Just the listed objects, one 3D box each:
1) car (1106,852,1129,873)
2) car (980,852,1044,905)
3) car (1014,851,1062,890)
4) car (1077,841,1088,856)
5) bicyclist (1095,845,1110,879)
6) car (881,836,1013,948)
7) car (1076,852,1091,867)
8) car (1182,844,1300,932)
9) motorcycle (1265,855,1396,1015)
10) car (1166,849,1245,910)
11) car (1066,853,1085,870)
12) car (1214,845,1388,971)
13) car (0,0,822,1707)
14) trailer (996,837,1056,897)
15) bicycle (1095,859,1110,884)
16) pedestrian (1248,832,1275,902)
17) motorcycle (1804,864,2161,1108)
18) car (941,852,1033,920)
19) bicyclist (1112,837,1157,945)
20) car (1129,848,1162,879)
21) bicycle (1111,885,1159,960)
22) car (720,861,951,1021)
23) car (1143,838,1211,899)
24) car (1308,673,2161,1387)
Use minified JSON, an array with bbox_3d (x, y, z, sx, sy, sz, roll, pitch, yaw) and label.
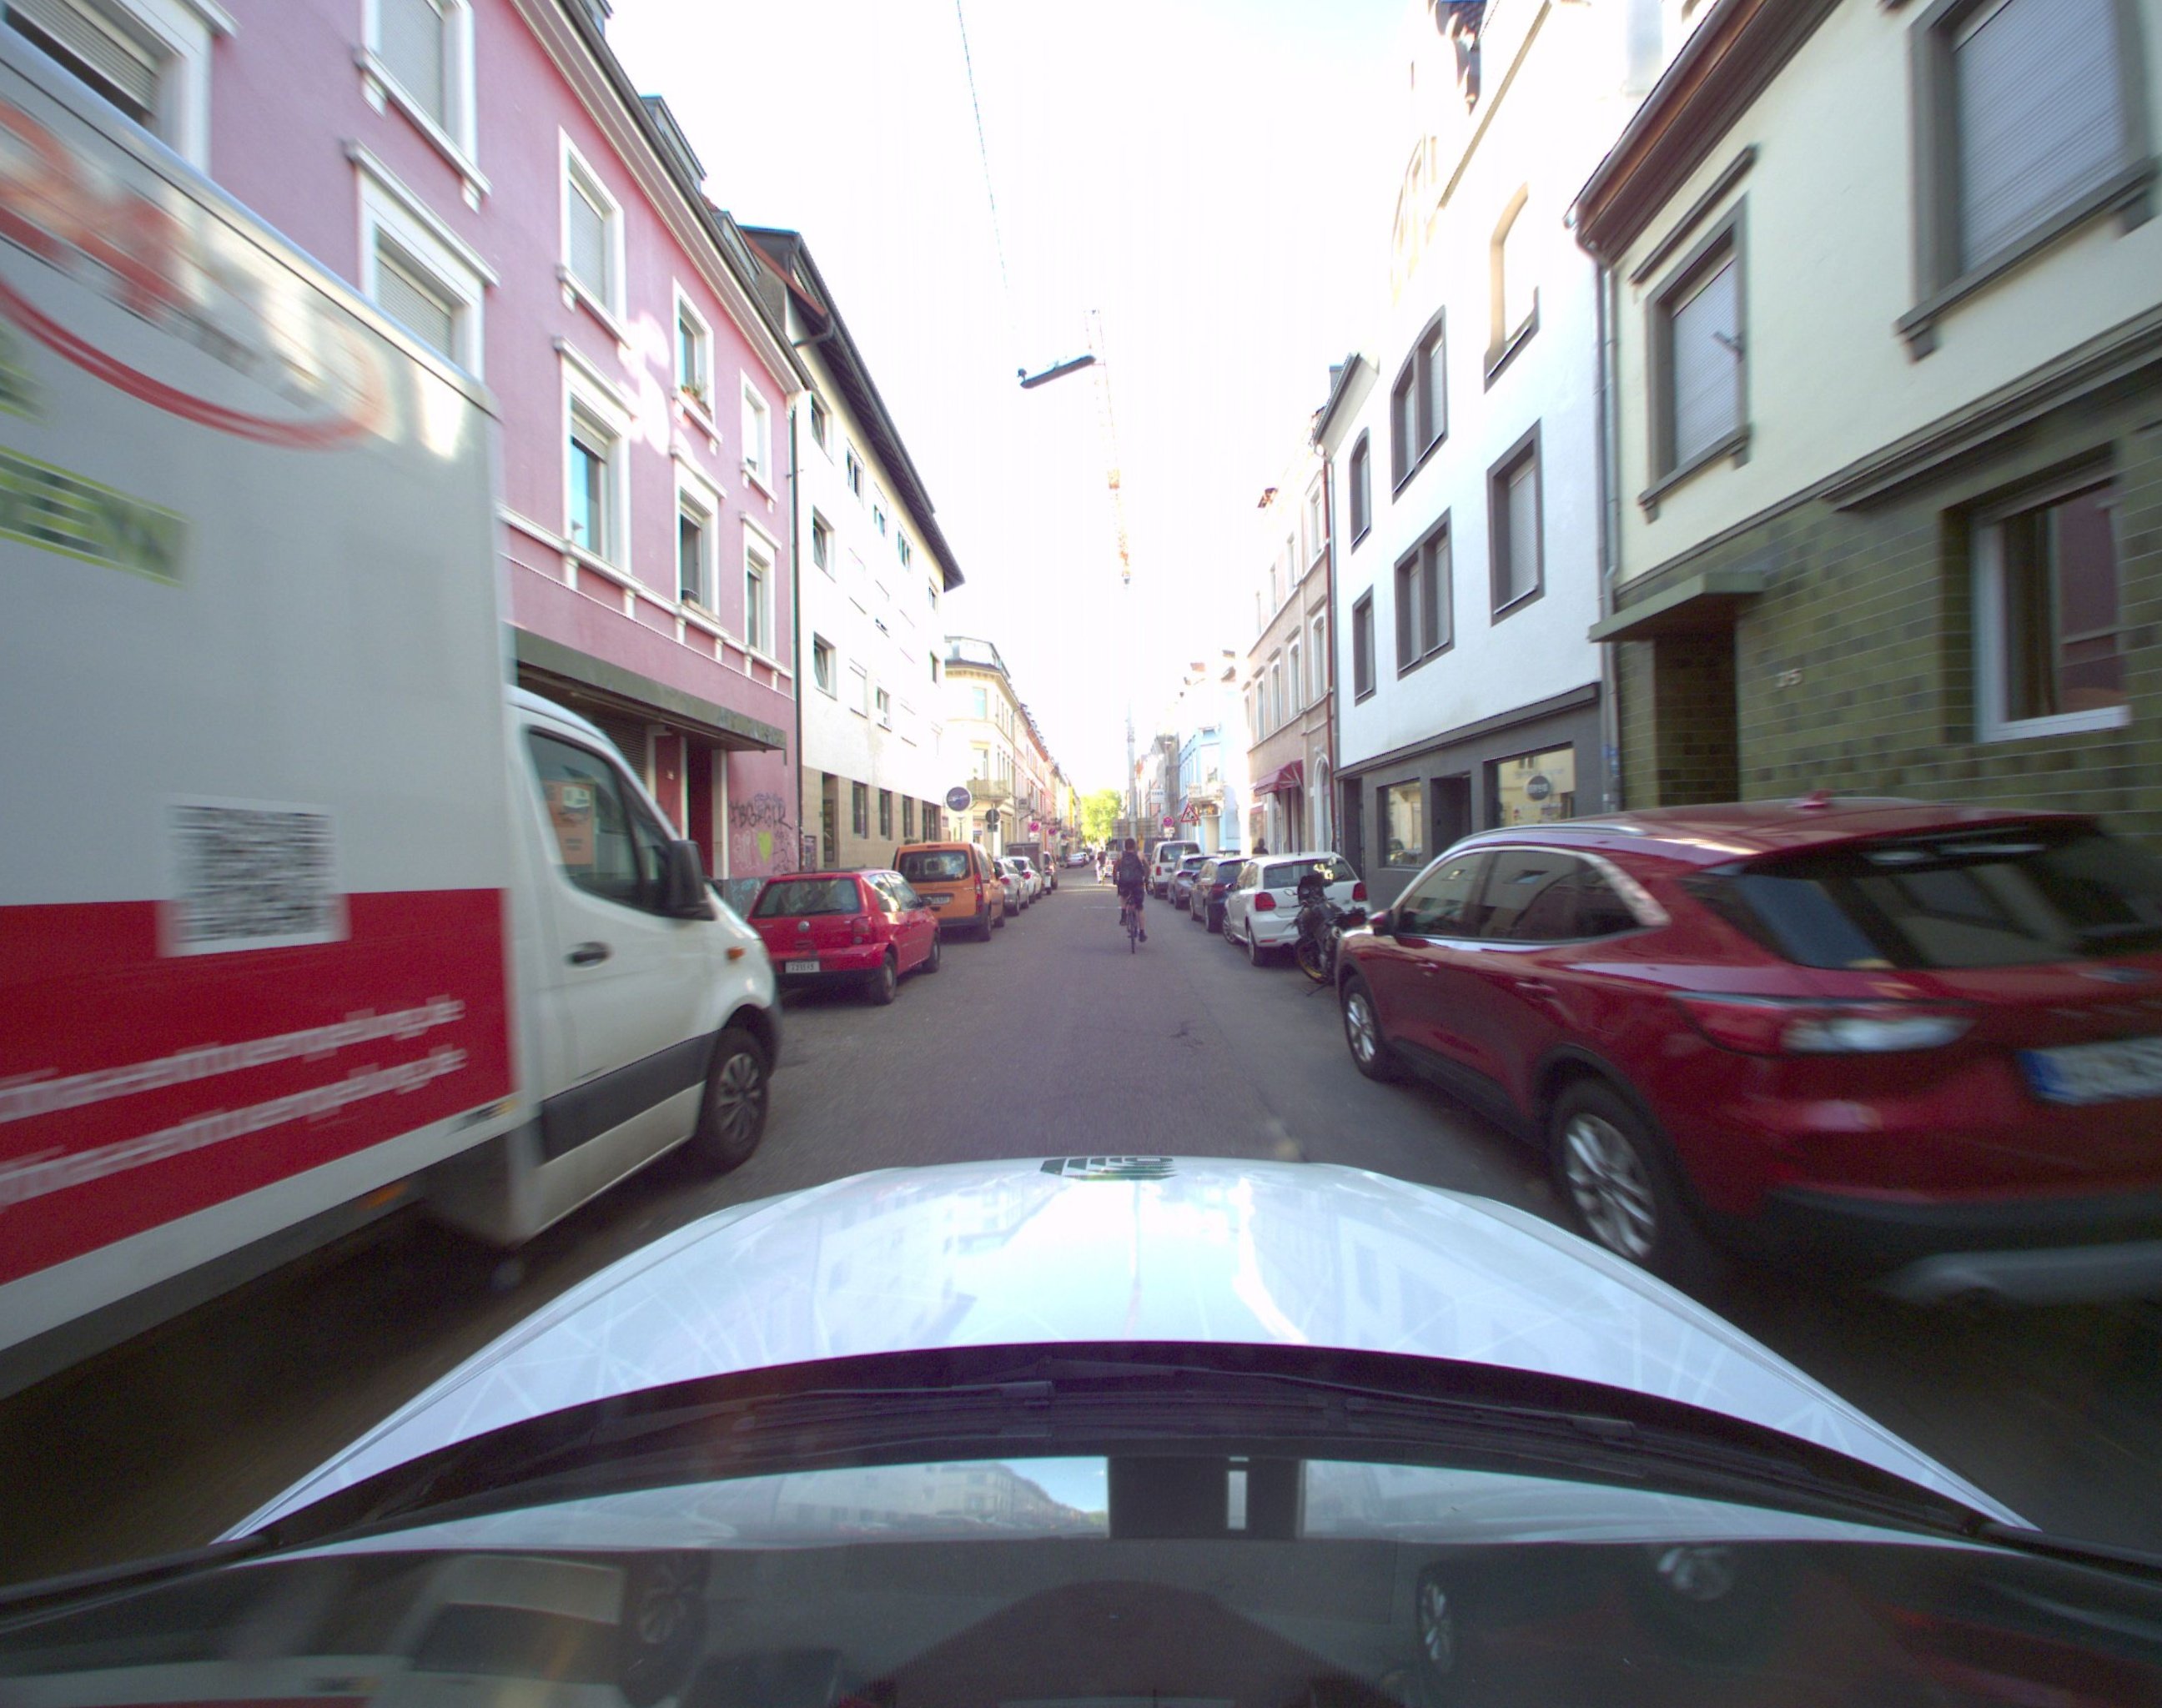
[{"bbox_3d":[2.723,0.655,61.433,1.605,1.560,3.611,0,0,1],"label":"car"},{"bbox_3d":[-2.168,0.759,26.457,1.647,1.537,3.635,-2,-1,1],"label":"car"},{"bbox_3d":[-1.804,0.698,35.468,1.744,1.573,3.797,-2,-1,1],"label":"car"},{"bbox_3d":[0.250,-0.831,130.986,1.744,2.318,3.797,-2,-1,1],"label":"car"},{"bbox_3d":[0.982,0.361,37.000,0.668,1.567,0.716,0,-1,1],"label":"bicyclist"},{"bbox_3d":[-2.458,0.662,15.934,1.746,1.816,4.078,-3,-1,1],"label":"car"},{"bbox_3d":[0.336,0.697,102.124,1.744,1.821,3.797,-2,-1,1],"label":"car"},{"bbox_3d":[3.177,0.638,16.896,1.640,1.475,3.972,-5,-1,1],"label":"car"},{"bbox_3d":[2.601,0.768,8.813,0.744,1.490,2.422,0,-1,2],"label":"motorcycle"},{"bbox_3d":[3.391,0.668,22.796,1.743,1.487,3.802,-2,-1,3],"label":"car"},{"bbox_3d":[-0.571,0.788,84.585,1.744,1.683,3.797,-2,-1,1],"label":"car"},{"bbox_3d":[3.143,0.708,12.388,1.660,1.505,3.818,-4,-1,2],"label":"car"},{"bbox_3d":[-2.972,-0.017,1.445,2.334,3.291,7.157,-3,-1,2],"label":"car"},{"bbox_3d":[-2.027,0.480,31.157,1.875,2.092,3.738,-2,-1,1],"label":"trailer"},{"bbox_3d":[0.987,0.782,36.998,0.646,1.129,2.136,0,-1,1],"label":"bicycle"},{"bbox_3d":[5.330,0.378,24.057,0.642,2.014,0.764,0,-1,1],"label":"pedestrian"},{"bbox_3d":[5.275,0.627,4.696,0.499,1.095,1.878,-4,-1,1],"label":"motorcycle"},{"bbox_3d":[-2.353,0.768,21.428,1.744,1.537,4.320,-2,-1,1],"label":"car"},{"bbox_3d":[0.847,0.573,13.178,0.665,1.677,1.097,0,-1,1],"label":"bicyclist"},{"bbox_3d":[3.544,0.510,45.181,1.605,1.633,3.611,0,0,1],"label":"car"},{"bbox_3d":[0.849,1.067,13.203,0.674,1.074,1.942,0,-1,1],"label":"bicycle"},{"bbox_3d":[-2.747,0.888,9.934,1.573,1.483,3.565,-4,-1,1],"label":"car"},{"bbox_3d":[3.195,0.466,27.866,1.745,1.879,3.971,-2,-1,-1],"label":"car"},{"bbox_3d":[2.707,0.407,4.160,1.911,1.706,4.367,-2,0,1],"label":"car"}]
